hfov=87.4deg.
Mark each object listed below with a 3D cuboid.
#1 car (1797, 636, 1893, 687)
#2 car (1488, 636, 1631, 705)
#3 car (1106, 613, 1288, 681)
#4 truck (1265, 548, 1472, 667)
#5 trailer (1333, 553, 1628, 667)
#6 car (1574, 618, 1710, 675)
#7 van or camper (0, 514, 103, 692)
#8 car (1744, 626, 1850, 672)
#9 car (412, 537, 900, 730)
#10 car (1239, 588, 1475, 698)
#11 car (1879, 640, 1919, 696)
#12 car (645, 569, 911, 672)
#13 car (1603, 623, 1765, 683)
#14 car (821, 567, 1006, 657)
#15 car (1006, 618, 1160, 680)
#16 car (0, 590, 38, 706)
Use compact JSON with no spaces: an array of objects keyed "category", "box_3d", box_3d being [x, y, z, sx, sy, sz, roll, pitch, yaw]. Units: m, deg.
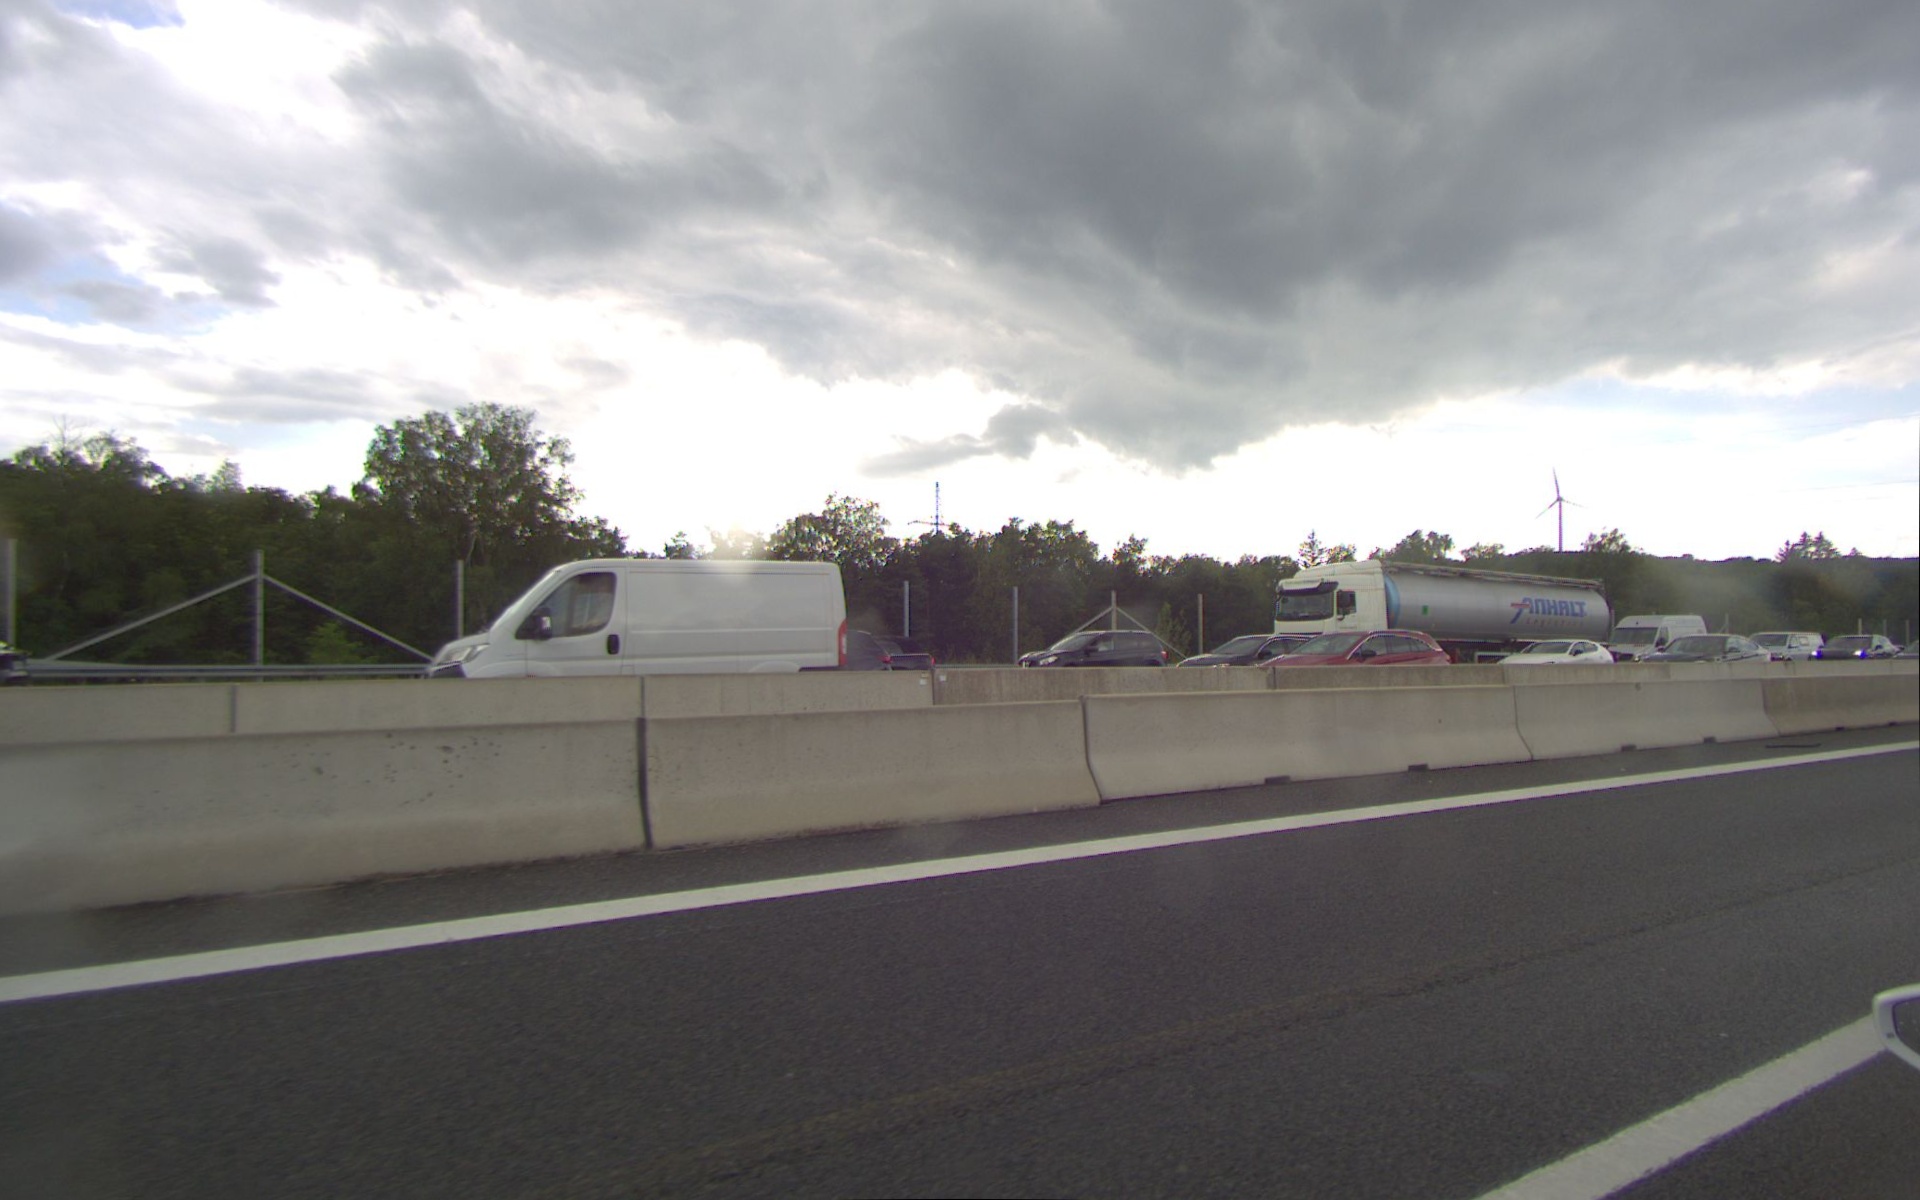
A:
[{"category":"car","box_3d":[37.310,2.567,42.328,3.953,1.979,1.884,2,0,-30]},{"category":"car","box_3d":[19.080,2.193,31.903,4.984,1.995,1.718,2,0,-30]},{"category":"car","box_3d":[5.823,1.137,24.555,4.301,1.523,1.791,2,-1,-30]},{"category":"truck","box_3d":[13.415,0.299,32.870,6.720,3.560,2.715,2,0,-30]},{"category":"trailer","box_3d":[19.086,0.479,36.208,13.451,3.573,2.698,2,0,-31]},{"category":"car","box_3d":[28.528,1.936,41.946,6.541,2.178,2.106,2,0,-30]},{"category":"van or camper","box_3d":[-14.103,-0.012,12.461,4.913,2.215,2.085,2,0,-30]},{"category":"car","box_3d":[39.088,2.277,46.873,5.375,1.963,2.106,2,0,-30]},{"category":"car","box_3d":[-3.714,0.408,12.673,5.565,1.995,2.085,2,0,-30]},{"category":"car","box_3d":[7.988,0.821,20.101,4.750,1.995,1.854,2,0,-30]},{"category":"car","box_3d":[36.210,2.529,37.332,4.163,1.979,1.884,2,0,-30]},{"category":"car","box_3d":[-3.259,0.374,18.216,4.374,1.683,1.854,2,0,-30]},{"category":"car","box_3d":[19.928,1.446,27.592,4.914,1.503,1.756,2,-1,-30]},{"category":"car","box_3d":[-1.111,0.304,24.306,3.953,1.995,2.085,2,0,-30]},{"category":"car","box_3d":[3.317,1.311,26.932,3.953,1.523,1.585,2,-1,-30]},{"category":"car","box_3d":[-16.335,0.657,14.560,3.952,1.731,1.984,2,-1,-30]}]
